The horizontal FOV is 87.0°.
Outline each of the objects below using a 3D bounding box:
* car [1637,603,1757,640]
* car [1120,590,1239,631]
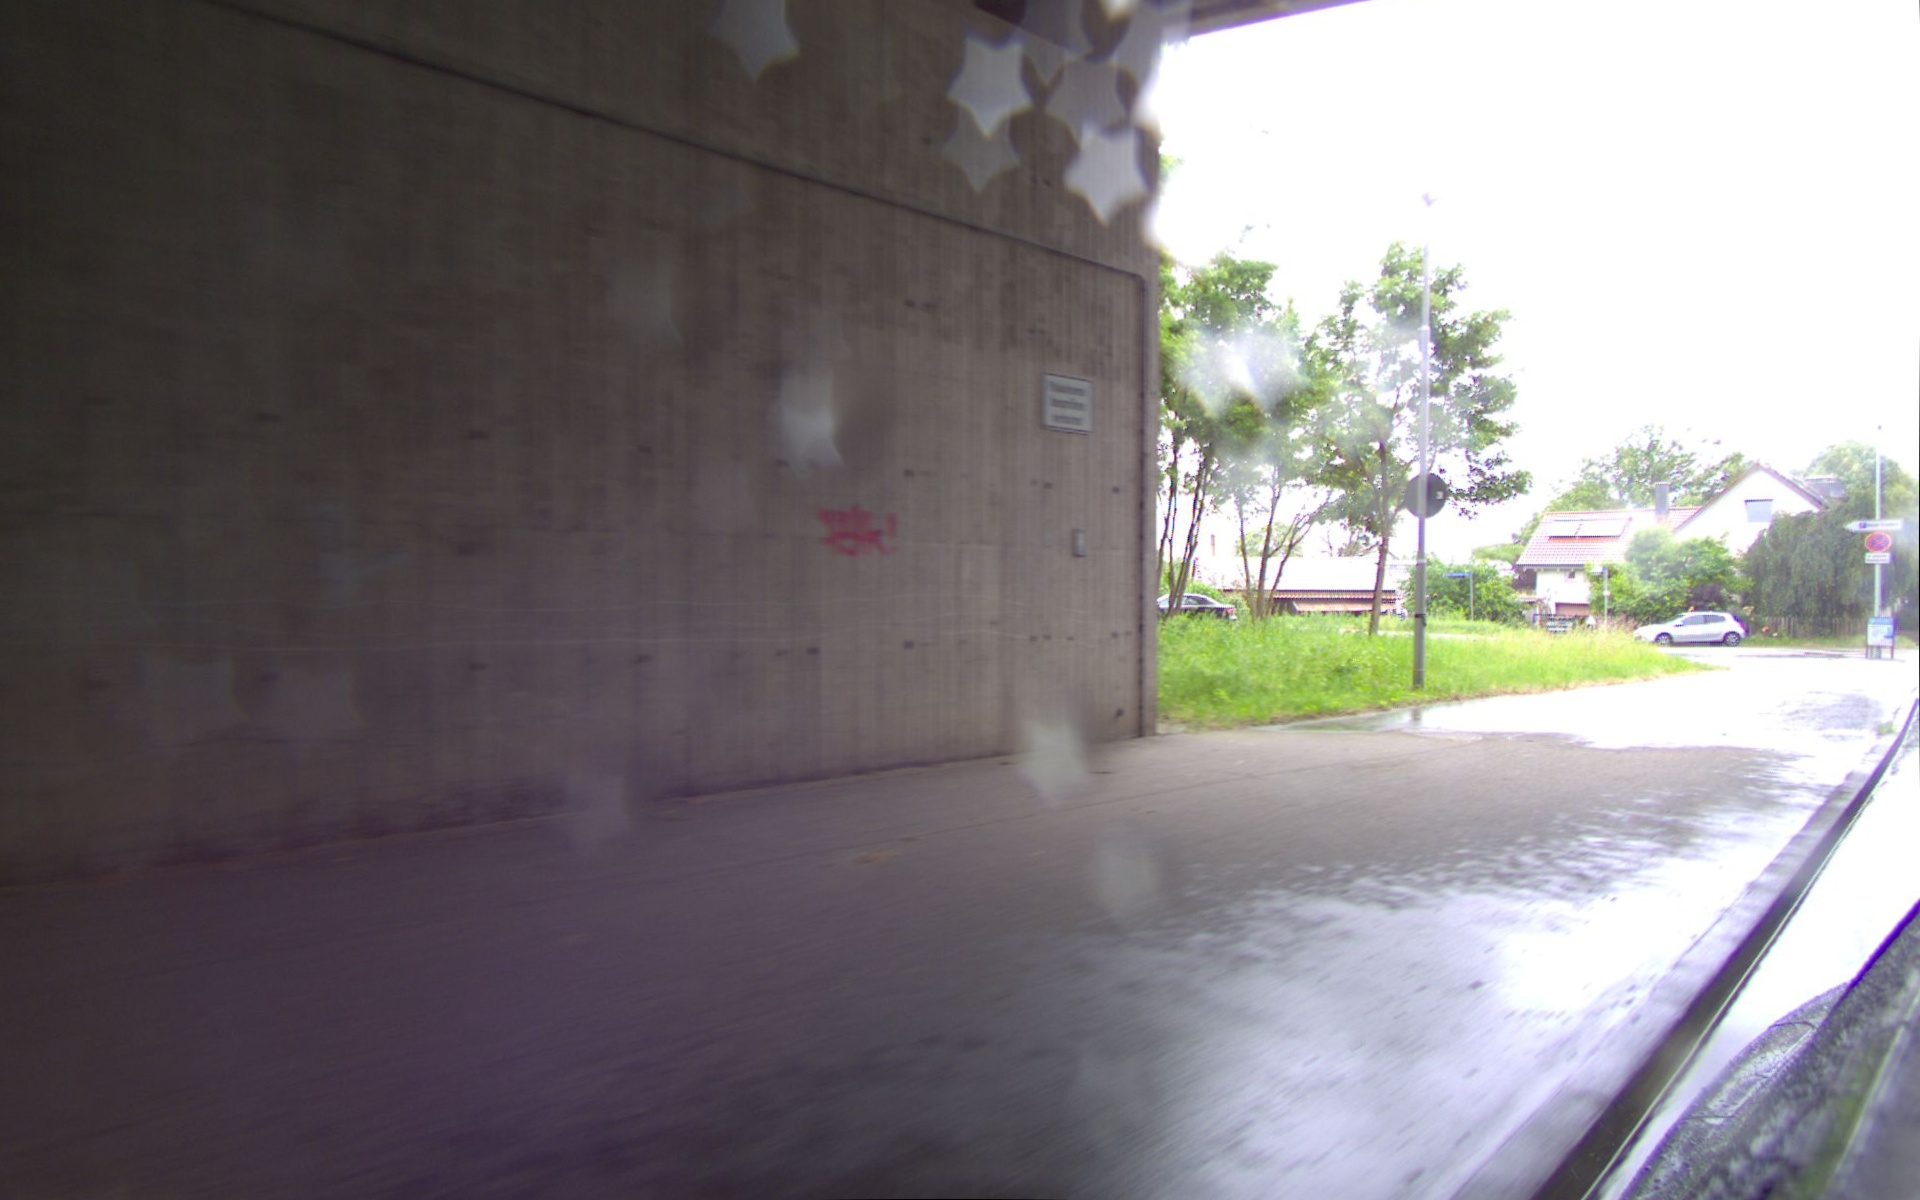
[{"bbox_3d":[32.112,0.933,44.198,3.803,1.551,1.710,-1,-1,17],"label":"car"},{"bbox_3d":[7.872,0.378,36.384,4.051,1.376,1.896,-1,-1,15],"label":"car"}]
